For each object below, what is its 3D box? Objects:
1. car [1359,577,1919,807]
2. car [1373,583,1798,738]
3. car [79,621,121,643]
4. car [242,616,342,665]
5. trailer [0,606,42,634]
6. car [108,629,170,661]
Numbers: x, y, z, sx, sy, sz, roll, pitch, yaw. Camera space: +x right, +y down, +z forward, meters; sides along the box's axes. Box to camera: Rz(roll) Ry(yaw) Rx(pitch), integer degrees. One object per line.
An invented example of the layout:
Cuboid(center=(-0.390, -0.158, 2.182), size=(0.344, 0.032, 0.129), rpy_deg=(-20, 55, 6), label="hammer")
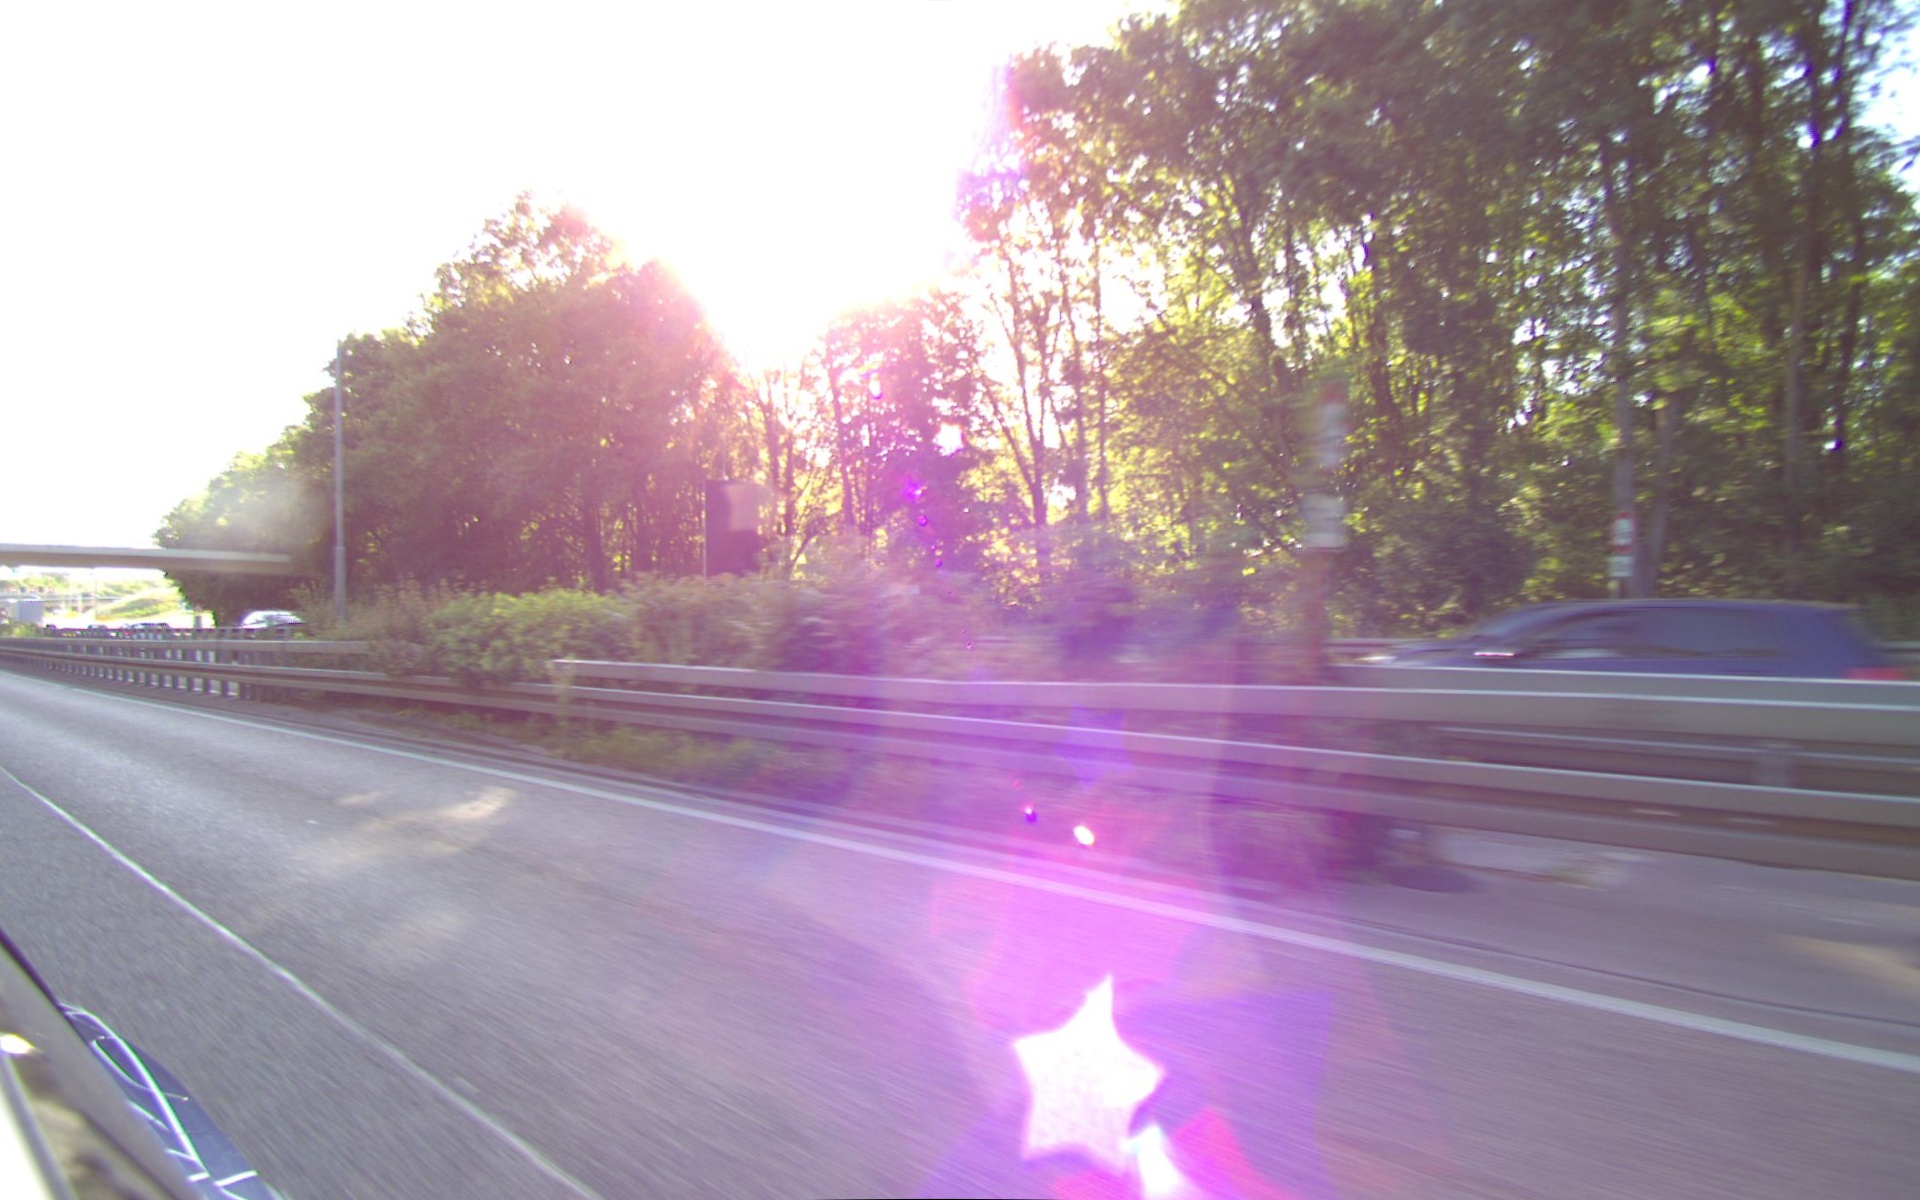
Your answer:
Cuboid(center=(5.850, 0.670, 8.678), size=(4.116, 1.551, 1.973), rpy_deg=(-1, -2, 41), label="car")
Cuboid(center=(7.459, 0.661, 12.281), size=(4.116, 1.551, 1.973), rpy_deg=(-1, -2, 41), label="car")
Cuboid(center=(-69.154, 2.578, 81.385), size=(4.341, 1.763, 1.972), rpy_deg=(-1, -2, 41), label="car")
Cuboid(center=(-21.980, 1.293, 33.244), size=(3.941, 1.508, 1.732), rpy_deg=(-1, -2, 41), label="car")
Cuboid(center=(-112.089, 2.445, 120.527), size=(11.914, 3.192, 2.898), rpy_deg=(-1, -2, 42), label="trailer")
Cuboid(center=(-40.802, 2.200, 50.266), size=(4.394, 1.500, 1.712), rpy_deg=(-2, -2, 41), label="car")
